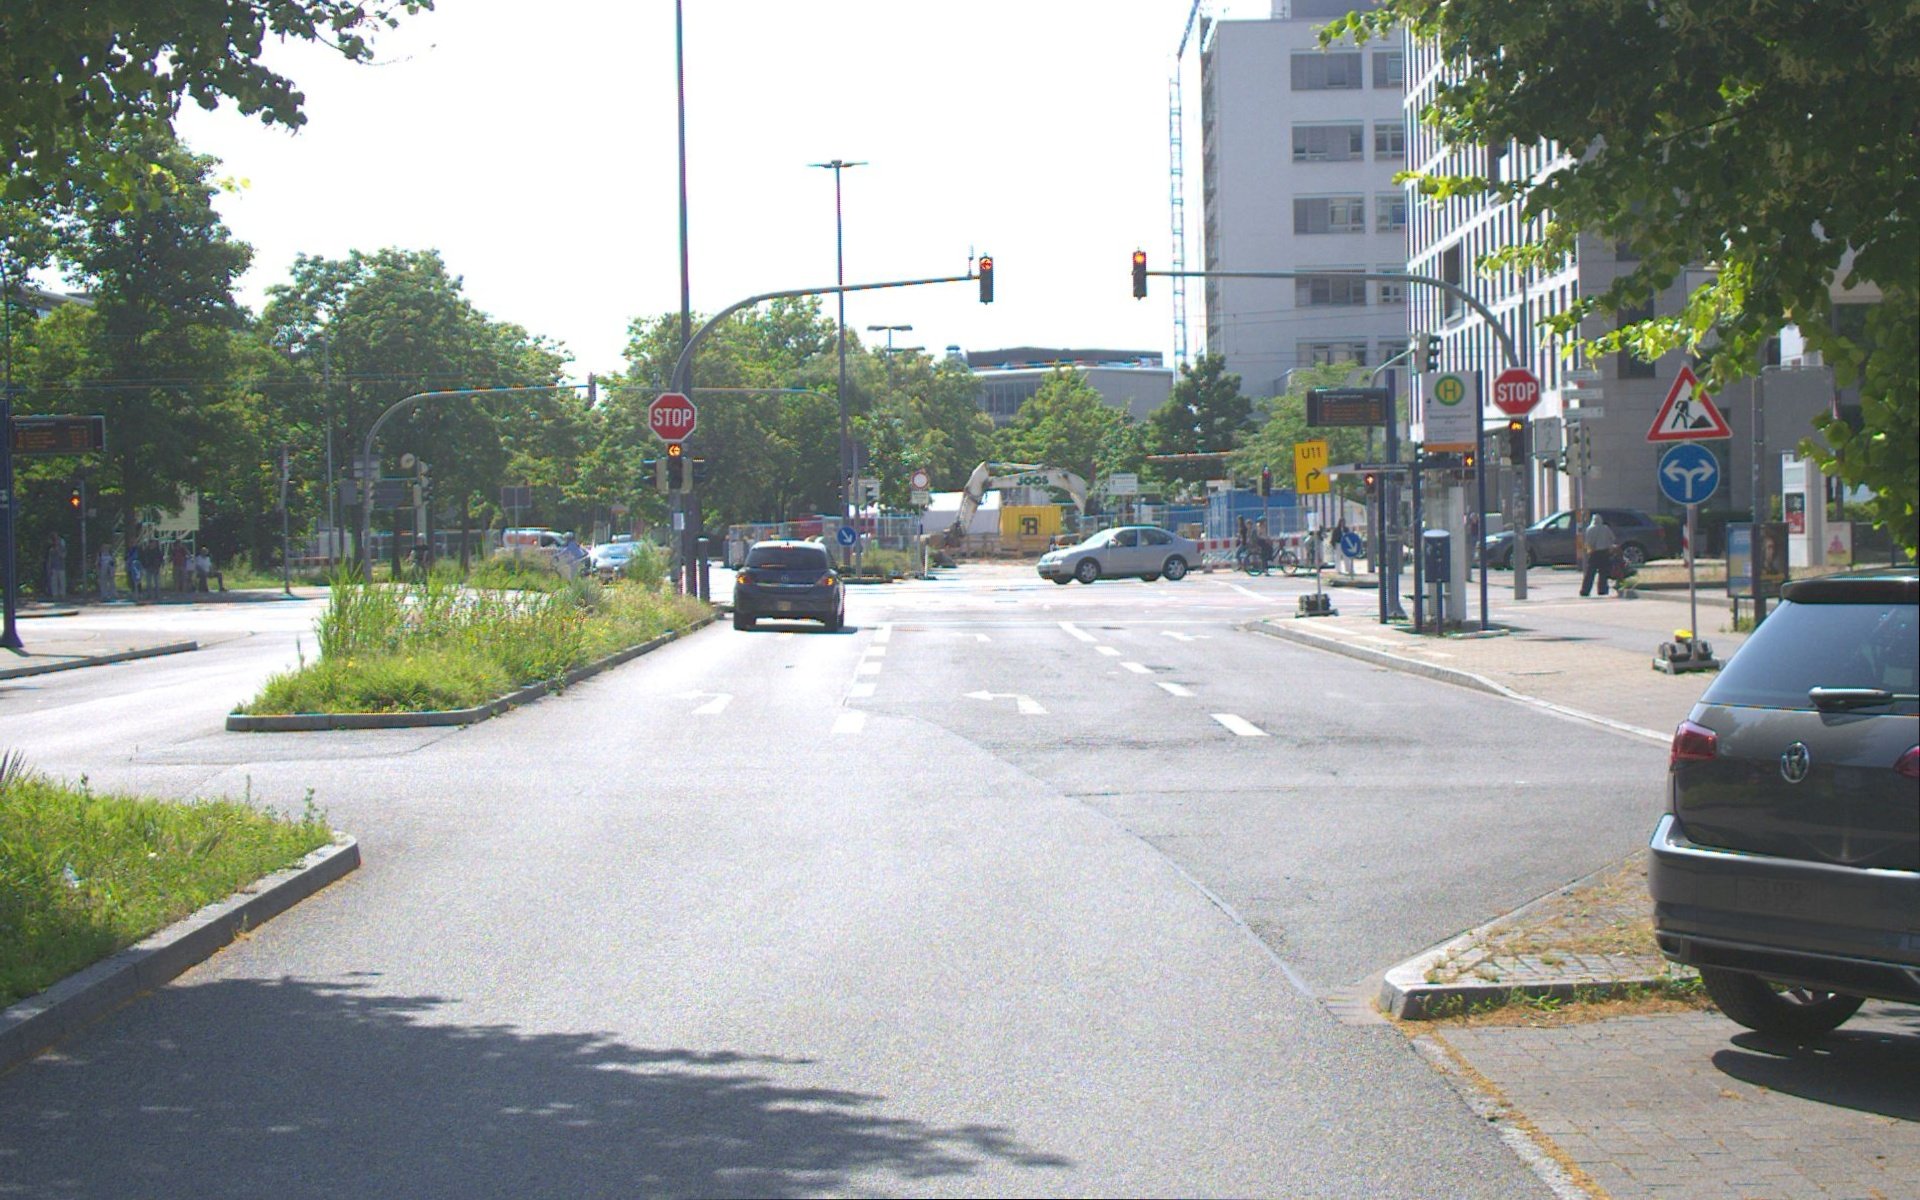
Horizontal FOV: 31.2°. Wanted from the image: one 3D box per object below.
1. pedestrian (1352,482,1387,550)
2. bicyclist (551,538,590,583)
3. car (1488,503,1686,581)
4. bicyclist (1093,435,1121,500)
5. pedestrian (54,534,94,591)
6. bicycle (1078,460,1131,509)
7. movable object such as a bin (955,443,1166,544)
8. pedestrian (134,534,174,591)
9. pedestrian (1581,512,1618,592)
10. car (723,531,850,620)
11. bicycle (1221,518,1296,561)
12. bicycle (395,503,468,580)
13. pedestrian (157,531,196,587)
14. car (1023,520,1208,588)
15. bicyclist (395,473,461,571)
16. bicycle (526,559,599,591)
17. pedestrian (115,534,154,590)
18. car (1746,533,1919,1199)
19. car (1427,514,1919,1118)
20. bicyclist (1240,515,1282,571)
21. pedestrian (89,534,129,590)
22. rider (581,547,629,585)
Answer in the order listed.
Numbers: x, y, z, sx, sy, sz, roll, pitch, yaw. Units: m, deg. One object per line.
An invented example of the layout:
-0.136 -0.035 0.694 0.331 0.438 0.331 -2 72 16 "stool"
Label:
12.240 -2.515 102.719 0.779 2.007 0.776 0 1 28 "pedestrian"
-11.164 -1.144 98.572 1.051 1.270 0.492 -1 1 -13 "bicyclist"
16.680 -1.559 91.611 4.853 2.007 2.000 -1 1 -2 "car"
5.891 -5.324 138.111 1.070 2.565 0.827 0 1 6 "bicyclist"
-25.500 -1.079 98.919 0.655 1.606 0.941 0 1 23 "pedestrian"
5.803 -4.625 138.127 2.088 1.955 0.827 0 1 6 "bicycle"
4.651 -4.913 159.401 9.675 4.534 3.164 -1 1 2 "movable object such as a bin"
-23.101 -1.071 98.563 0.655 1.606 0.941 0 1 23 "pedestrian"
12.252 -0.921 65.863 0.618 1.538 0.461 -1 1 -1 "pedestrian"
-2.875 -0.428 56.554 1.993 1.393 4.001 -1 1 -4 "car"
9.009 -1.815 103.756 2.229 1.280 0.525 0 1 8 "bicycle"
-16.042 -1.777 104.531 1.599 2.261 4.000 -1 1 0 "bicycle"
-22.778 -1.196 99.959 0.667 1.606 0.941 0 1 23 "pedestrian"
4.036 -1.200 89.272 4.380 1.633 2.001 -1 1 -14 "car"
-16.035 -2.349 103.714 1.599 2.921 2.353 -1 1 0 "bicyclist"
-11.387 -0.709 98.514 1.999 0.880 0.527 -1 1 -13 "bicycle"
-23.832 -1.112 99.303 0.655 1.606 0.941 0 1 23 "pedestrian"
3.957 0.560 8.018 3.987 1.468 1.769 -1 1 -30 "car"
3.664 0.492 10.515 4.104 1.525 2.000 -1 1 -33 "car"
9.086 -1.711 103.744 1.240 1.667 0.525 0 1 8 "bicyclist"
-24.582 -1.102 99.317 0.655 1.606 0.941 0 1 23 "pedestrian"
-11.500 -1.119 111.365 1.391 1.191 2.698 -1 1 -3 "rider"
